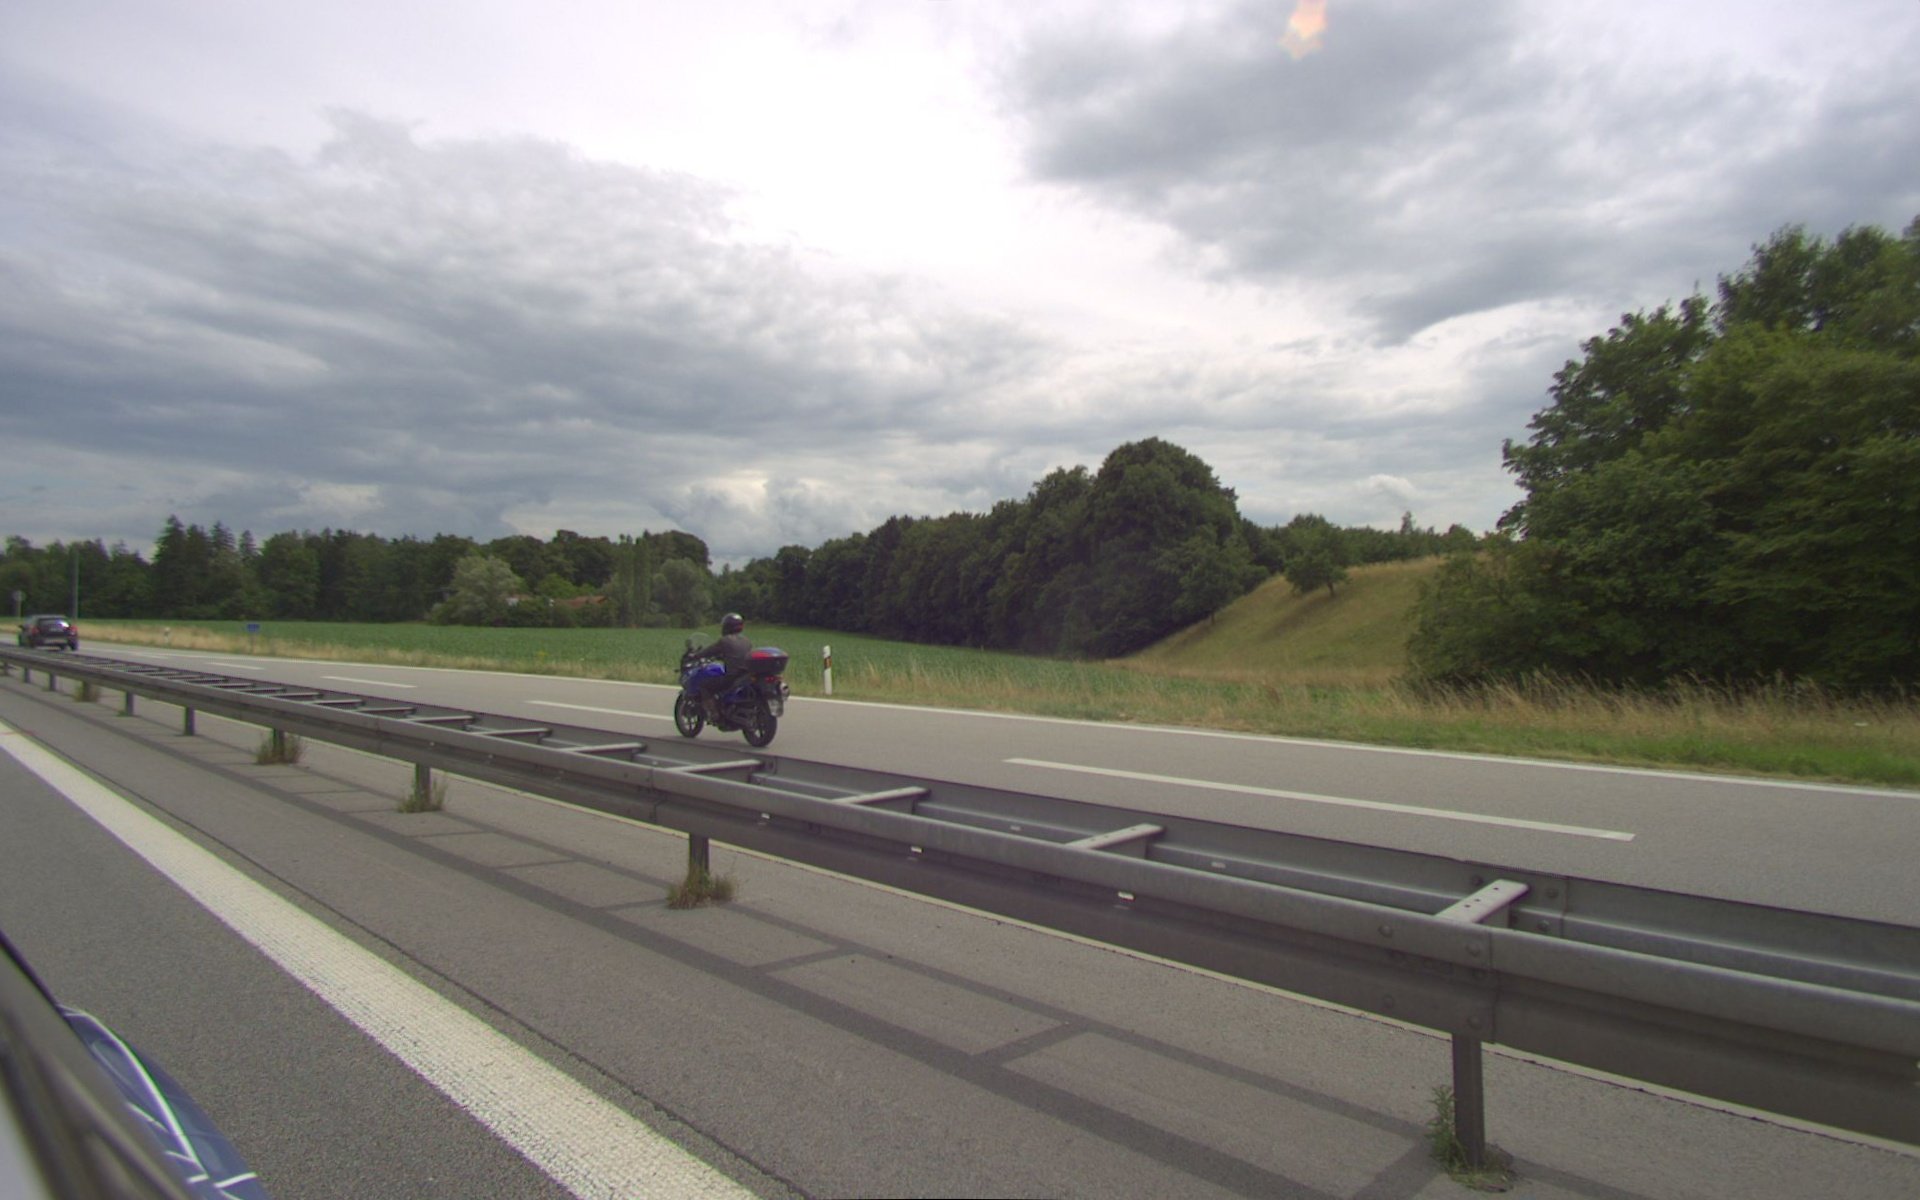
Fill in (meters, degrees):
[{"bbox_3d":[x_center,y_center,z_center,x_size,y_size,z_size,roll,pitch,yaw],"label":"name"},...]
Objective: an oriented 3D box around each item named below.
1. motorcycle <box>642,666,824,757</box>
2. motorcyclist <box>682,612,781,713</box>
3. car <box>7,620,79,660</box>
[{"bbox_3d":[-2.979,1.381,13.075,2.723,0.941,0.846,-1,0,41],"label":"motorcycle"},{"bbox_3d":[-2.947,0.775,13.052,0.960,1.218,0.852,0,0,41],"label":"motorcyclist"},{"bbox_3d":[-42.868,1.814,47.291,4.231,1.696,1.973,0,0,40],"label":"car"}]
